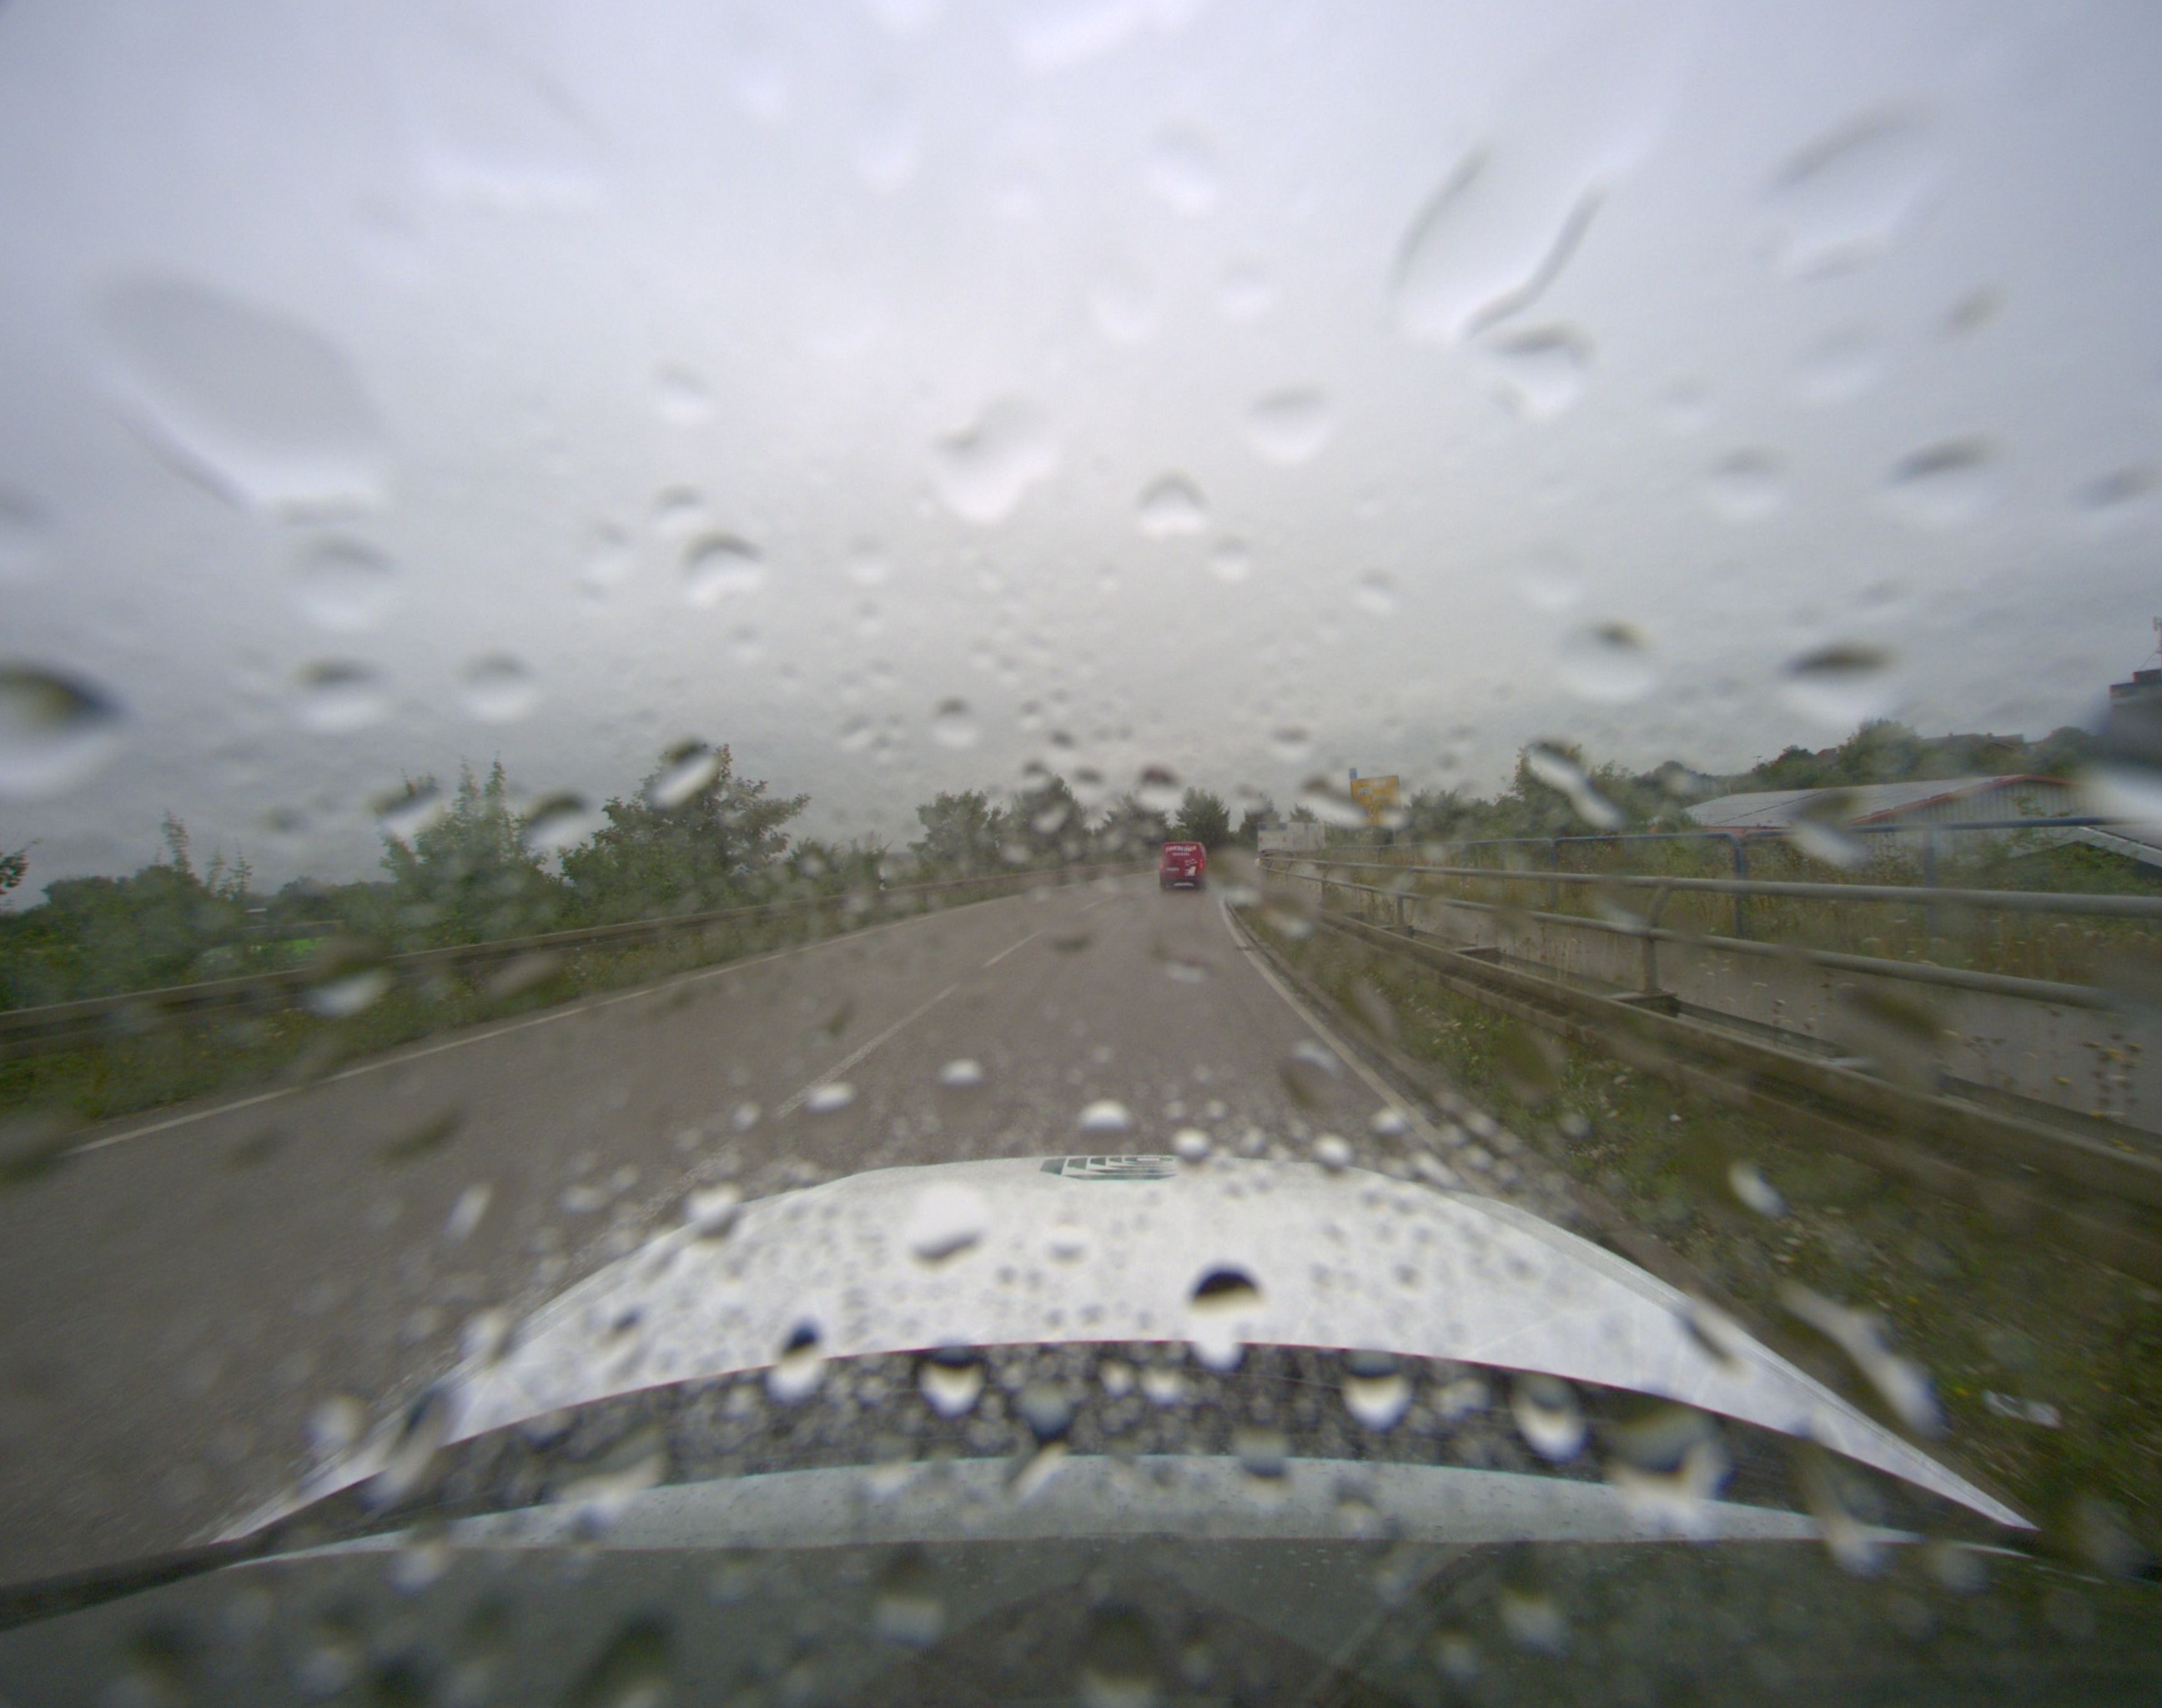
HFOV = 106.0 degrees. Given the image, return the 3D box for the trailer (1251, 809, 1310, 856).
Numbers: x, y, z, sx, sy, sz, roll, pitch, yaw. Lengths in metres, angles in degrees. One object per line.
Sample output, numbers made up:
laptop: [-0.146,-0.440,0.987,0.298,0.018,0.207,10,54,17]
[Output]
trailer: [17.852,-1.847,72.463,3.172,3.922,8.791,-1,0,26]

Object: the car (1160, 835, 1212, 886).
car: [4.364,0.228,34.356,1.984,1.925,4.150,-2,1,5]

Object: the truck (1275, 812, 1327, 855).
truck: [21.798,-1.939,80.340,3.172,3.922,8.791,-1,0,26]
